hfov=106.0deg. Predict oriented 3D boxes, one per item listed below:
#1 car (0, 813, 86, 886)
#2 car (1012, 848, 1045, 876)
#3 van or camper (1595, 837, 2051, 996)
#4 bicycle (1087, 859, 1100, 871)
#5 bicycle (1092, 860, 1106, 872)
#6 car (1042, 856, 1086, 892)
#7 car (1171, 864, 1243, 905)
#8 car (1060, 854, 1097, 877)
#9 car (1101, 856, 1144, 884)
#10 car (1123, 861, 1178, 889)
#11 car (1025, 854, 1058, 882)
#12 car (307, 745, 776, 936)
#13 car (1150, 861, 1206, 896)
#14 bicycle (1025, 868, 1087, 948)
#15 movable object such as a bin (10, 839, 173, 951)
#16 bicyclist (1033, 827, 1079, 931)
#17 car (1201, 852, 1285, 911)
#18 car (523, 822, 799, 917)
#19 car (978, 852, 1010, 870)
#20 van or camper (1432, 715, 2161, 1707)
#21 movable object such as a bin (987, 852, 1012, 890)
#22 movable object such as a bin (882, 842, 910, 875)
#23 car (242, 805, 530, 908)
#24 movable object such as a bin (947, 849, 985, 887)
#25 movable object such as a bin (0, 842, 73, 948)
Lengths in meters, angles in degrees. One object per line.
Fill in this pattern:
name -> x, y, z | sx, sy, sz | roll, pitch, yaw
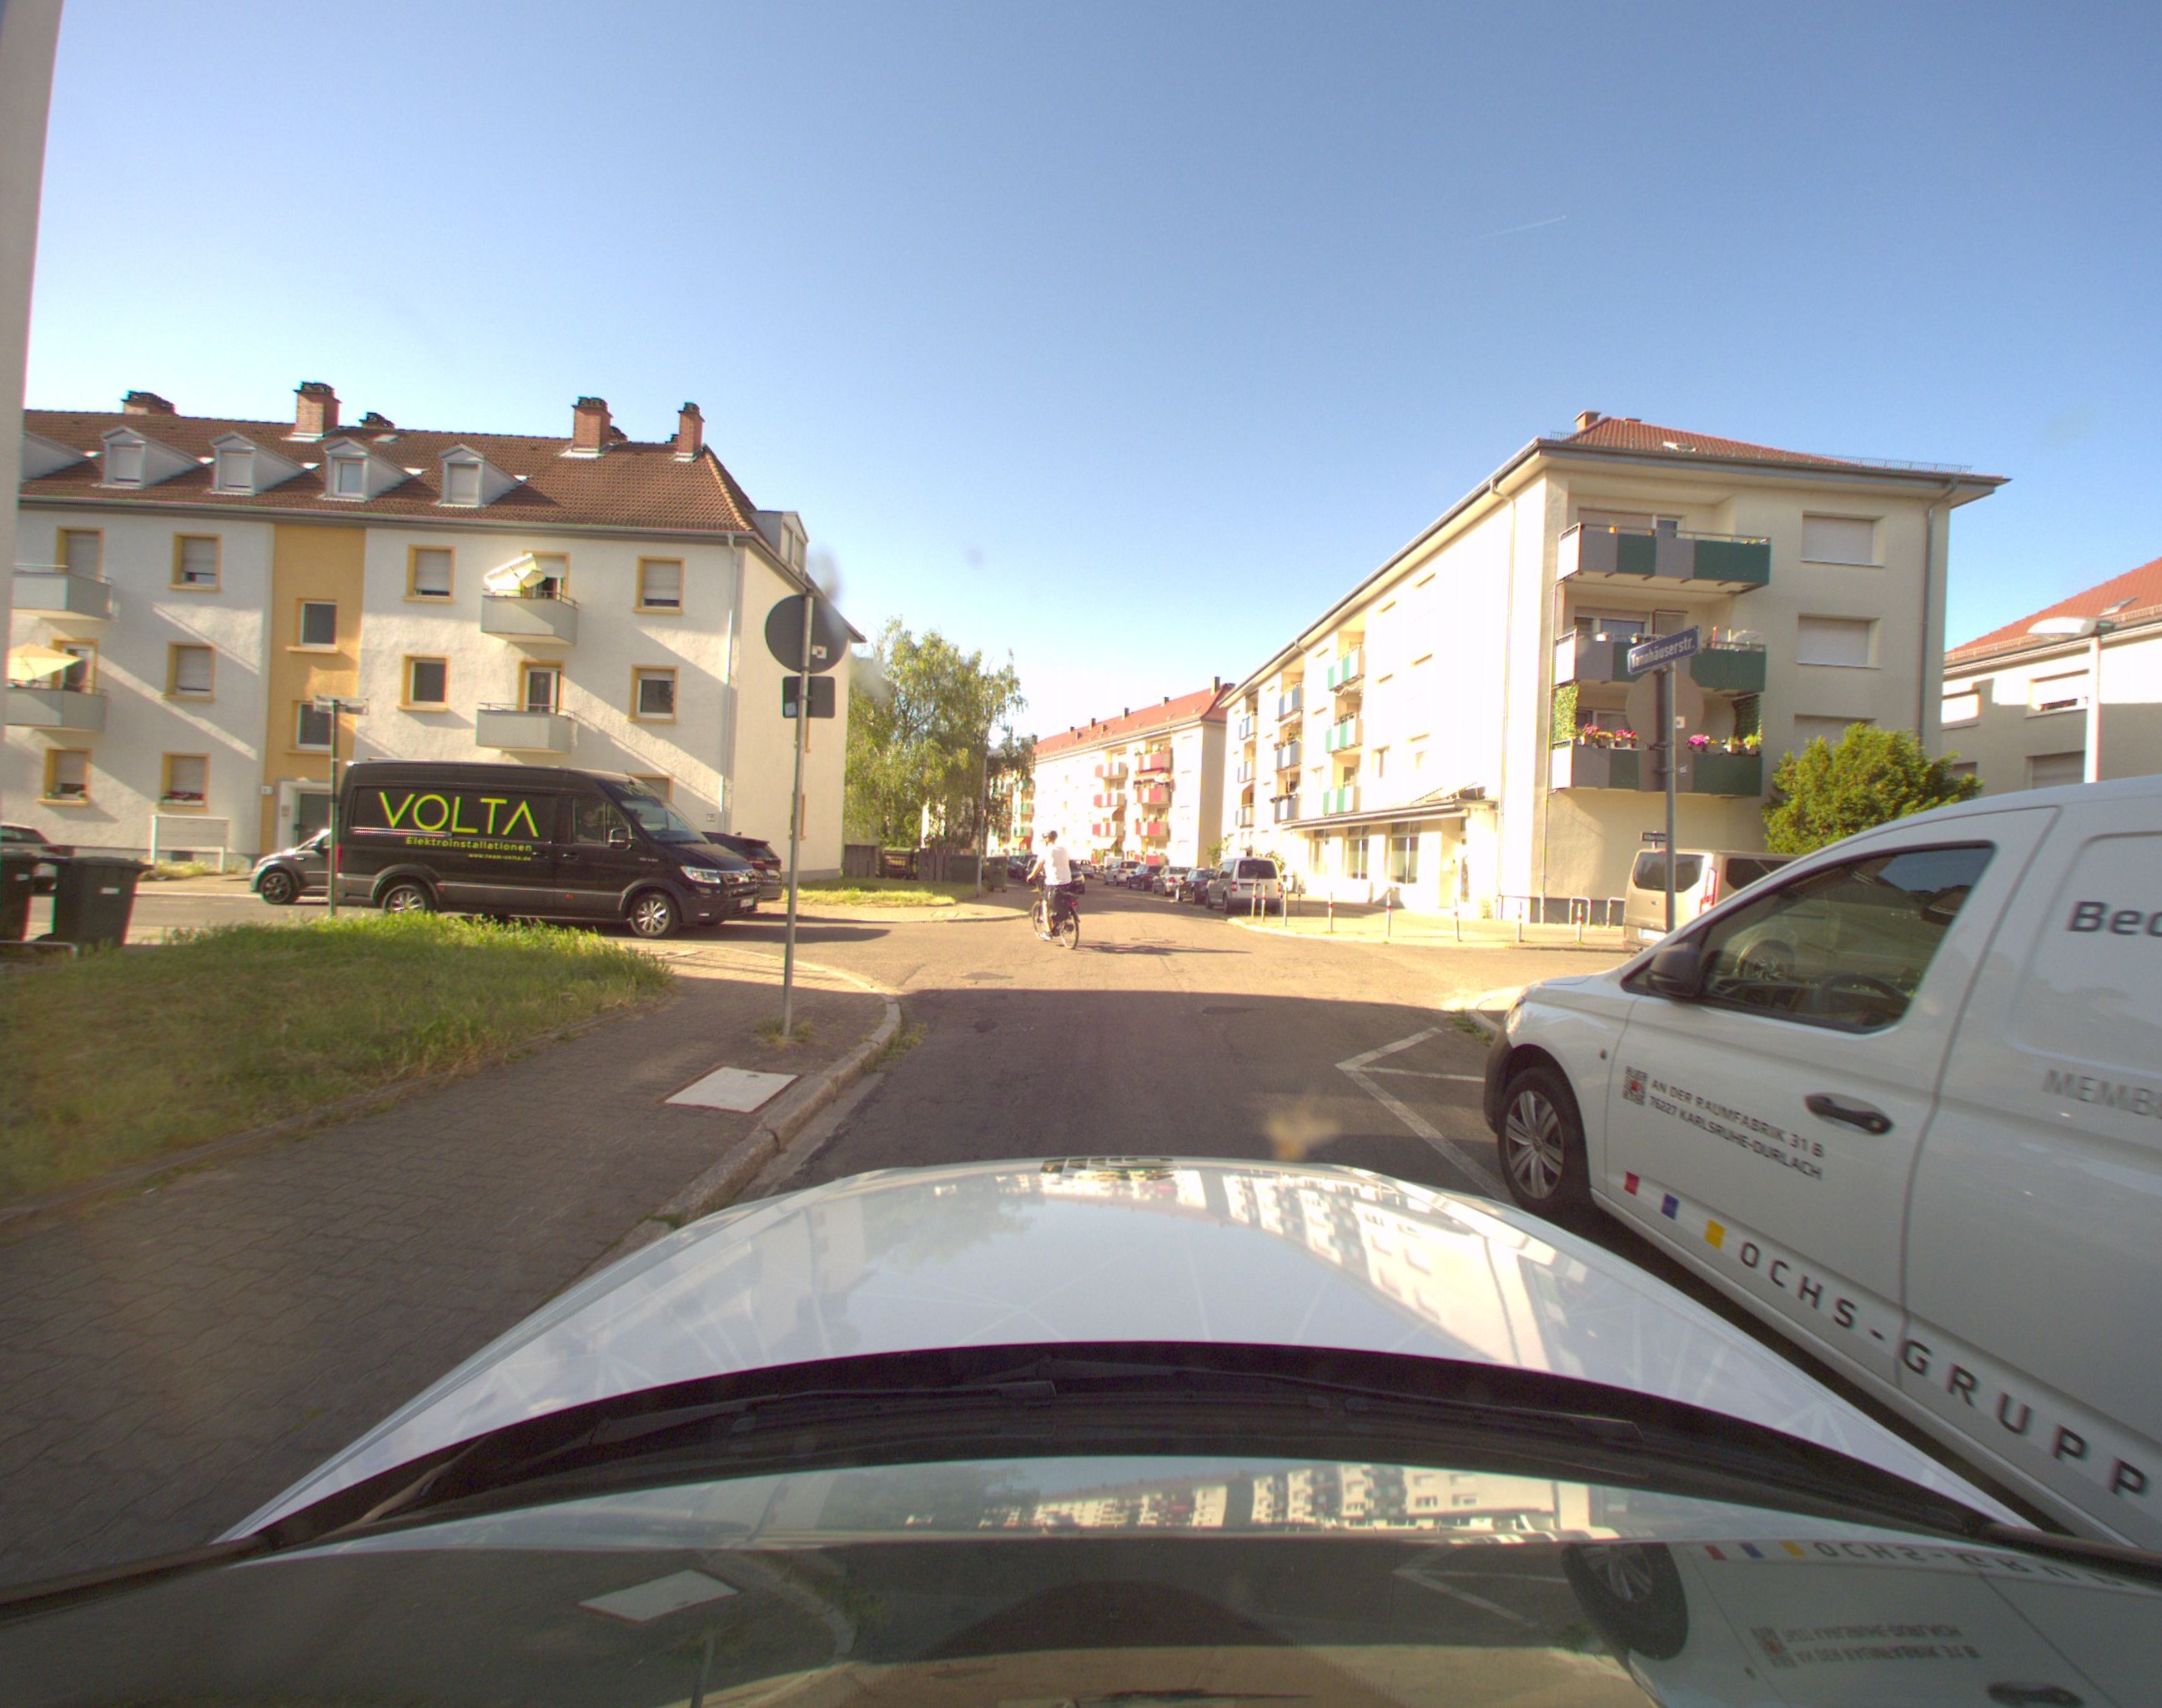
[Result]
car -> -22.208, -0.093, 15.817 | 3.542, 1.384, 1.786 | 1, -2, 2
car -> -3.385, 0.503, 52.034 | 1.556, 1.714, 4.320 | 0, 0, -11
van or camper -> 11.100, 0.868, 12.499 | 5.106, 2.013, 2.000 | 2, 2, 0
bicycle -> 1.136, 0.983, 72.622 | 0.499, 1.020, 1.828 | 1, 0, -21
bicycle -> 1.582, 1.085, 73.199 | 0.619, 0.978, 1.883 | -1, 2, -21
car -> -0.816, 0.816, 35.254 | 1.675, 1.453, 4.613 | -1, 0, -4
car -> 4.998, 1.168, 32.886 | 1.676, 1.407, 4.535 | 2, 0, -7
car -> -0.239, 0.872, 63.842 | 1.770, 1.635, 4.017 | 0, 1, -18
car -> 2.590, 1.010, 51.632 | 1.695, 1.656, 4.372 | 1, -1, -12
car -> 3.756, 1.107, 44.841 | 1.695, 1.431, 4.667 | 1, 0, -12
car -> -2.261, 0.757, 45.939 | 1.554, 1.442, 3.957 | -1, 0, -8
car -> -8.230, -0.195, 12.882 | 5.923, 2.545, 1.999 | 2, 0, -1
car -> 4.571, 1.118, 38.925 | 1.675, 1.447, 4.715 | 2, 0, -5
bicycle -> -0.425, 0.812, 12.889 | 0.627, 1.115, 1.808 | 2, 0, -12
movable object such as a bin -> -9.332, 0.368, 7.711 | 0.611, 0.992, 0.714 | 3, 0, -1
bicyclist -> -0.407, 0.378, 12.825 | 0.596, 1.579, 0.903 | 0, 0, -11
car -> 5.313, 0.850, 27.213 | 1.743, 1.824, 4.126 | 0, 0, -4
car -> -8.141, 0.312, 16.087 | 4.473, 1.664, 1.719 | 2, -2, 0
car -> -7.139, 0.554, 66.575 | 1.698, 1.389, 4.132 | 2, 0, -18
van or camper -> 2.785, 0.660, 2.059 | 1.786, 1.747, 4.736 | 2, 0, 1
movable object such as a bin -> -3.101, 0.636, 31.068 | 0.773, 1.393, 1.416 | 2, 0, -1
movable object such as a bin -> -8.305, 0.189, 36.565 | 1.058, 1.435, 1.002 | 1, 0, -2
car -> -13.306, 0.064, 15.771 | 3.977, 1.789, 1.719 | 2, -2, 0
movable object such as a bin -> -4.423, 0.524, 31.394 | 1.215, 1.380, 0.768 | 3, 0, 3
movable object such as a bin -> -10.052, 0.372, 7.635 | 0.496, 0.949, 0.532 | 2, 0, 0
